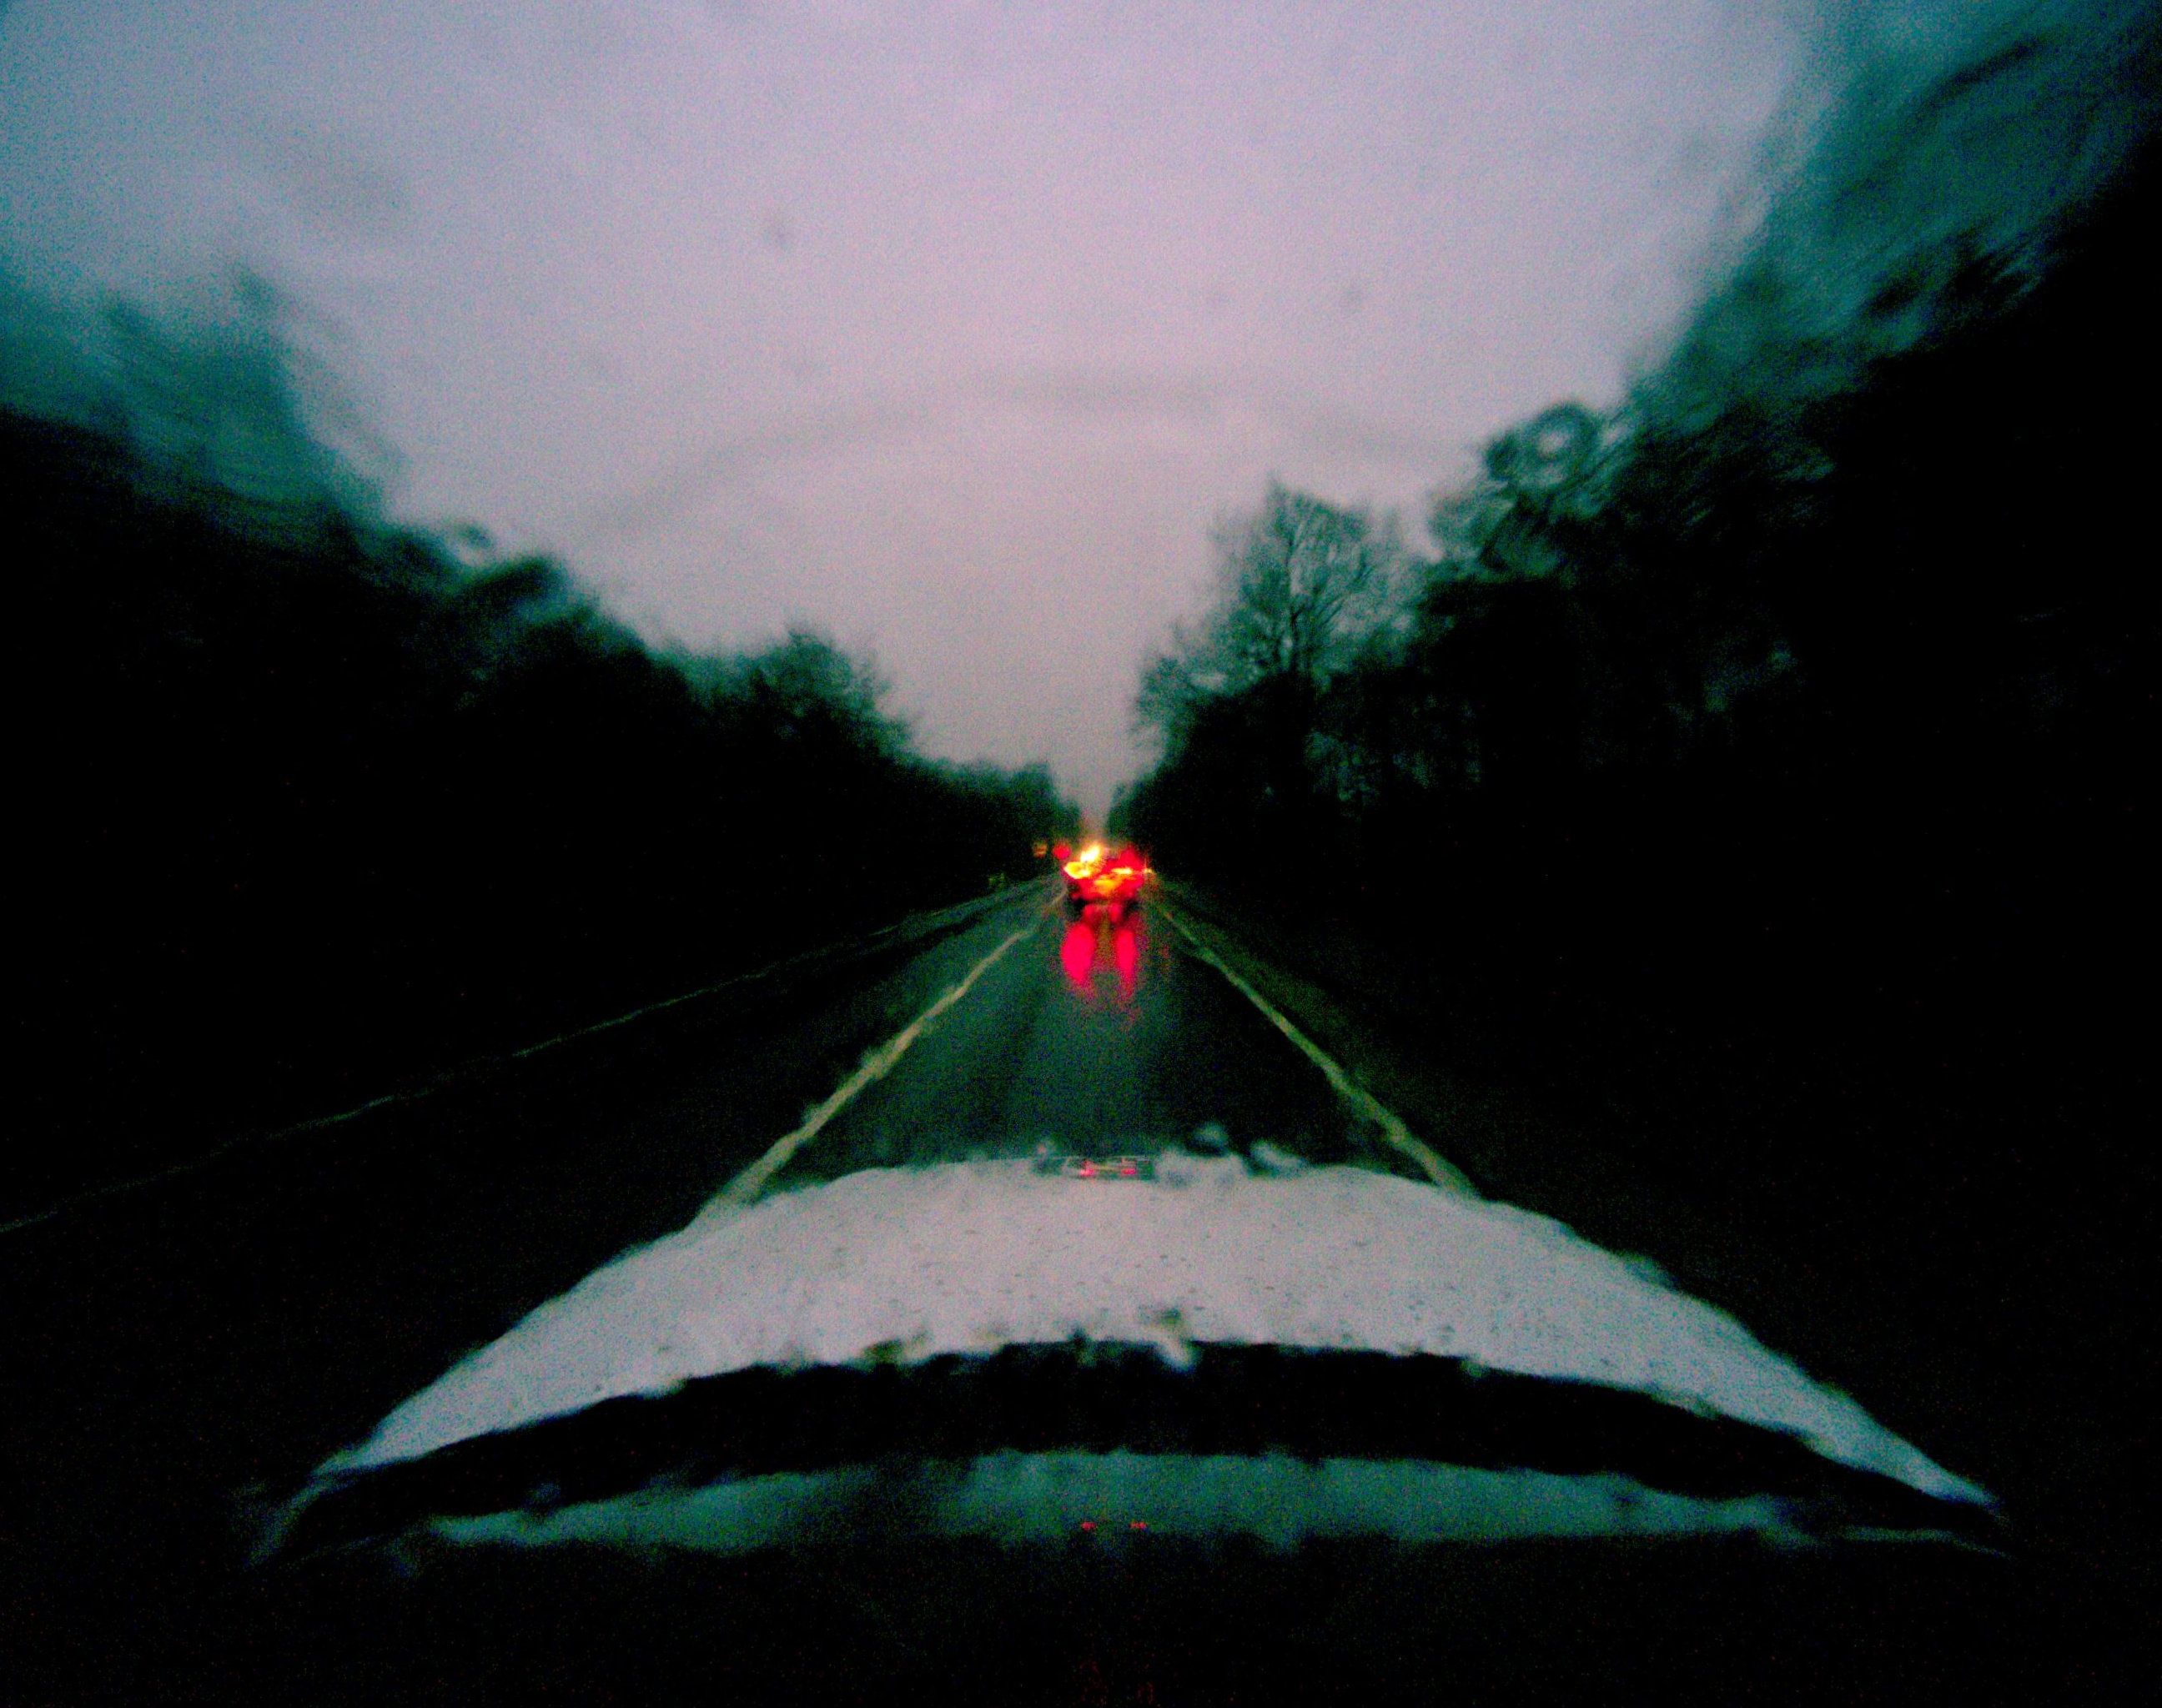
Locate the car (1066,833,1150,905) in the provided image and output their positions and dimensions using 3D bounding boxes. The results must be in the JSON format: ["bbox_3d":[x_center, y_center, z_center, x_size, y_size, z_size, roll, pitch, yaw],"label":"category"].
[{"bbox_3d":[0.750,0.372,23.546,2.190,1.877,4.828,0,0,1],"label":"car"}]
